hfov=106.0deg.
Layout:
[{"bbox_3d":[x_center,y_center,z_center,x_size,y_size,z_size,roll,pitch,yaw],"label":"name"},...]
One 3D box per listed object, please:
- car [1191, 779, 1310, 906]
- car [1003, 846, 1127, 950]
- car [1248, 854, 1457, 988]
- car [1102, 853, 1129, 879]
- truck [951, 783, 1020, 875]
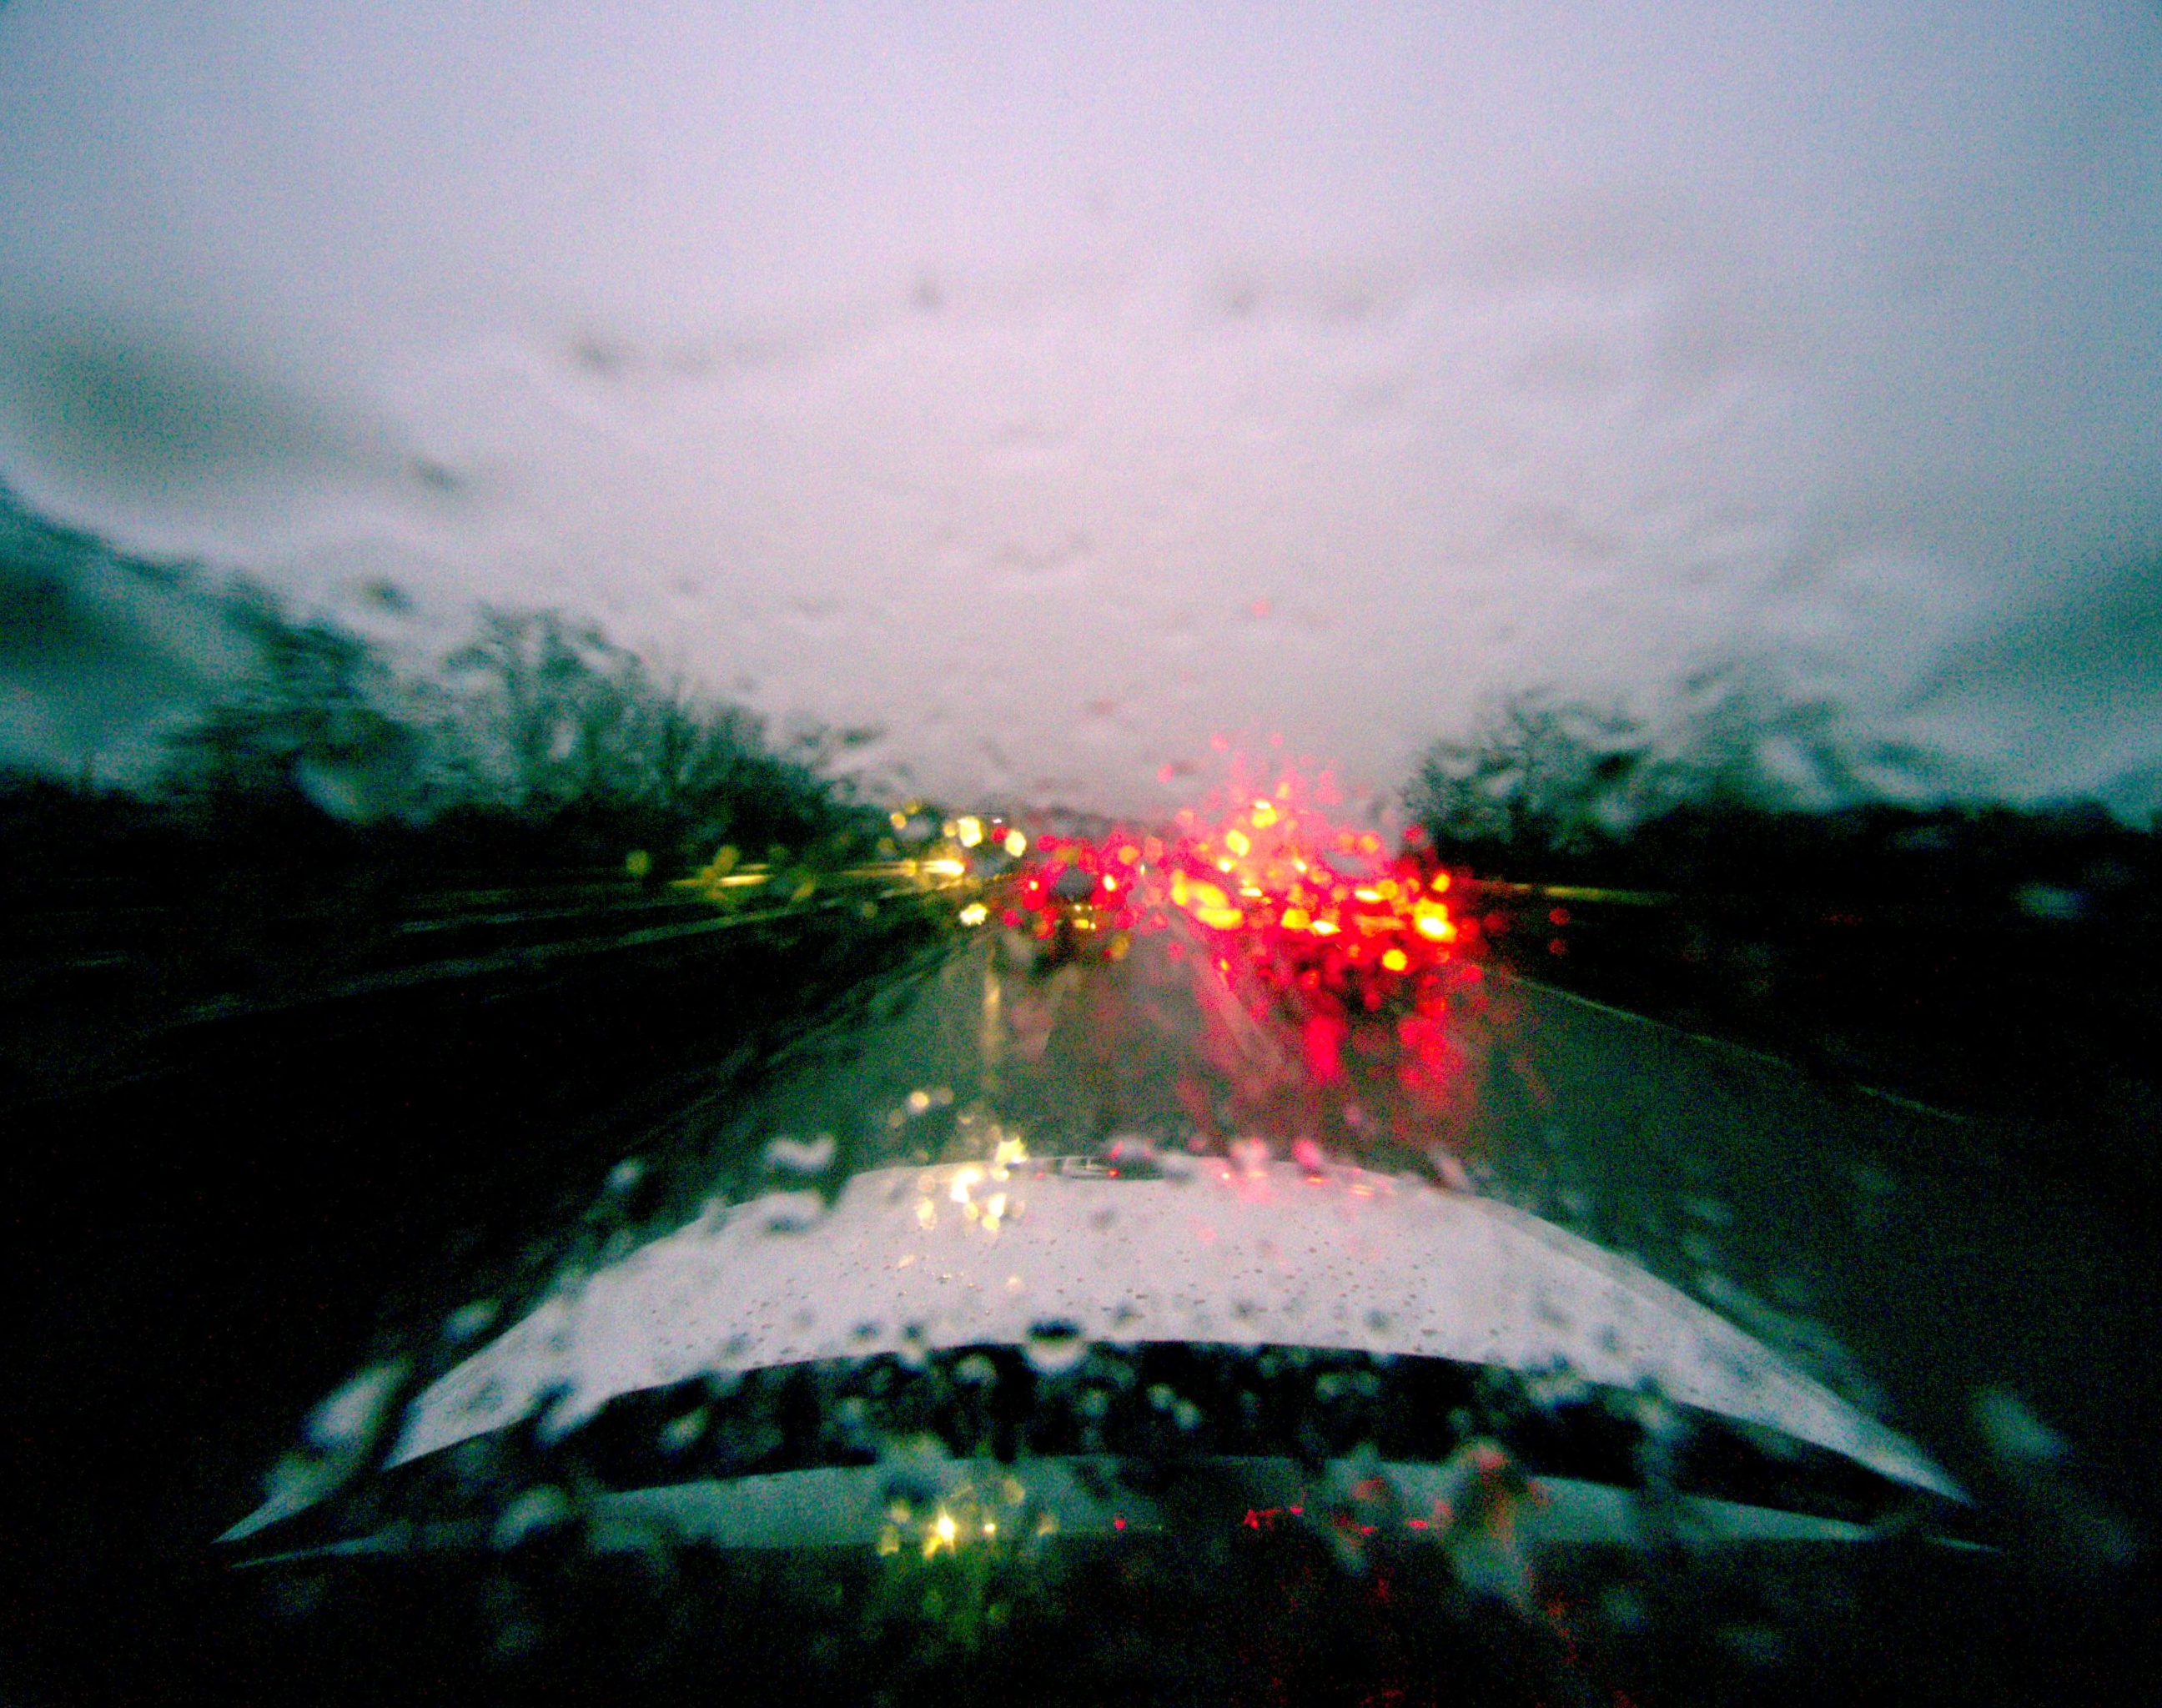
[{"bbox_3d":[4.425,-0.235,22.436,2.272,2.966,6.396,-1,-1,4],"label":"car"},{"bbox_3d":[-0.133,0.685,14.038,1.722,1.533,4.047,-1,-1,4],"label":"car"},{"bbox_3d":[3.459,0.750,11.250,1.728,1.414,4.384,-2,0,5],"label":"car"},{"bbox_3d":[2.653,0.906,63.519,1.986,1.814,4.002,2,1,2],"label":"car"},{"bbox_3d":[-4.982,-1.227,43.766,2.584,4.580,6.362,-1,-1,3],"label":"truck"}]
